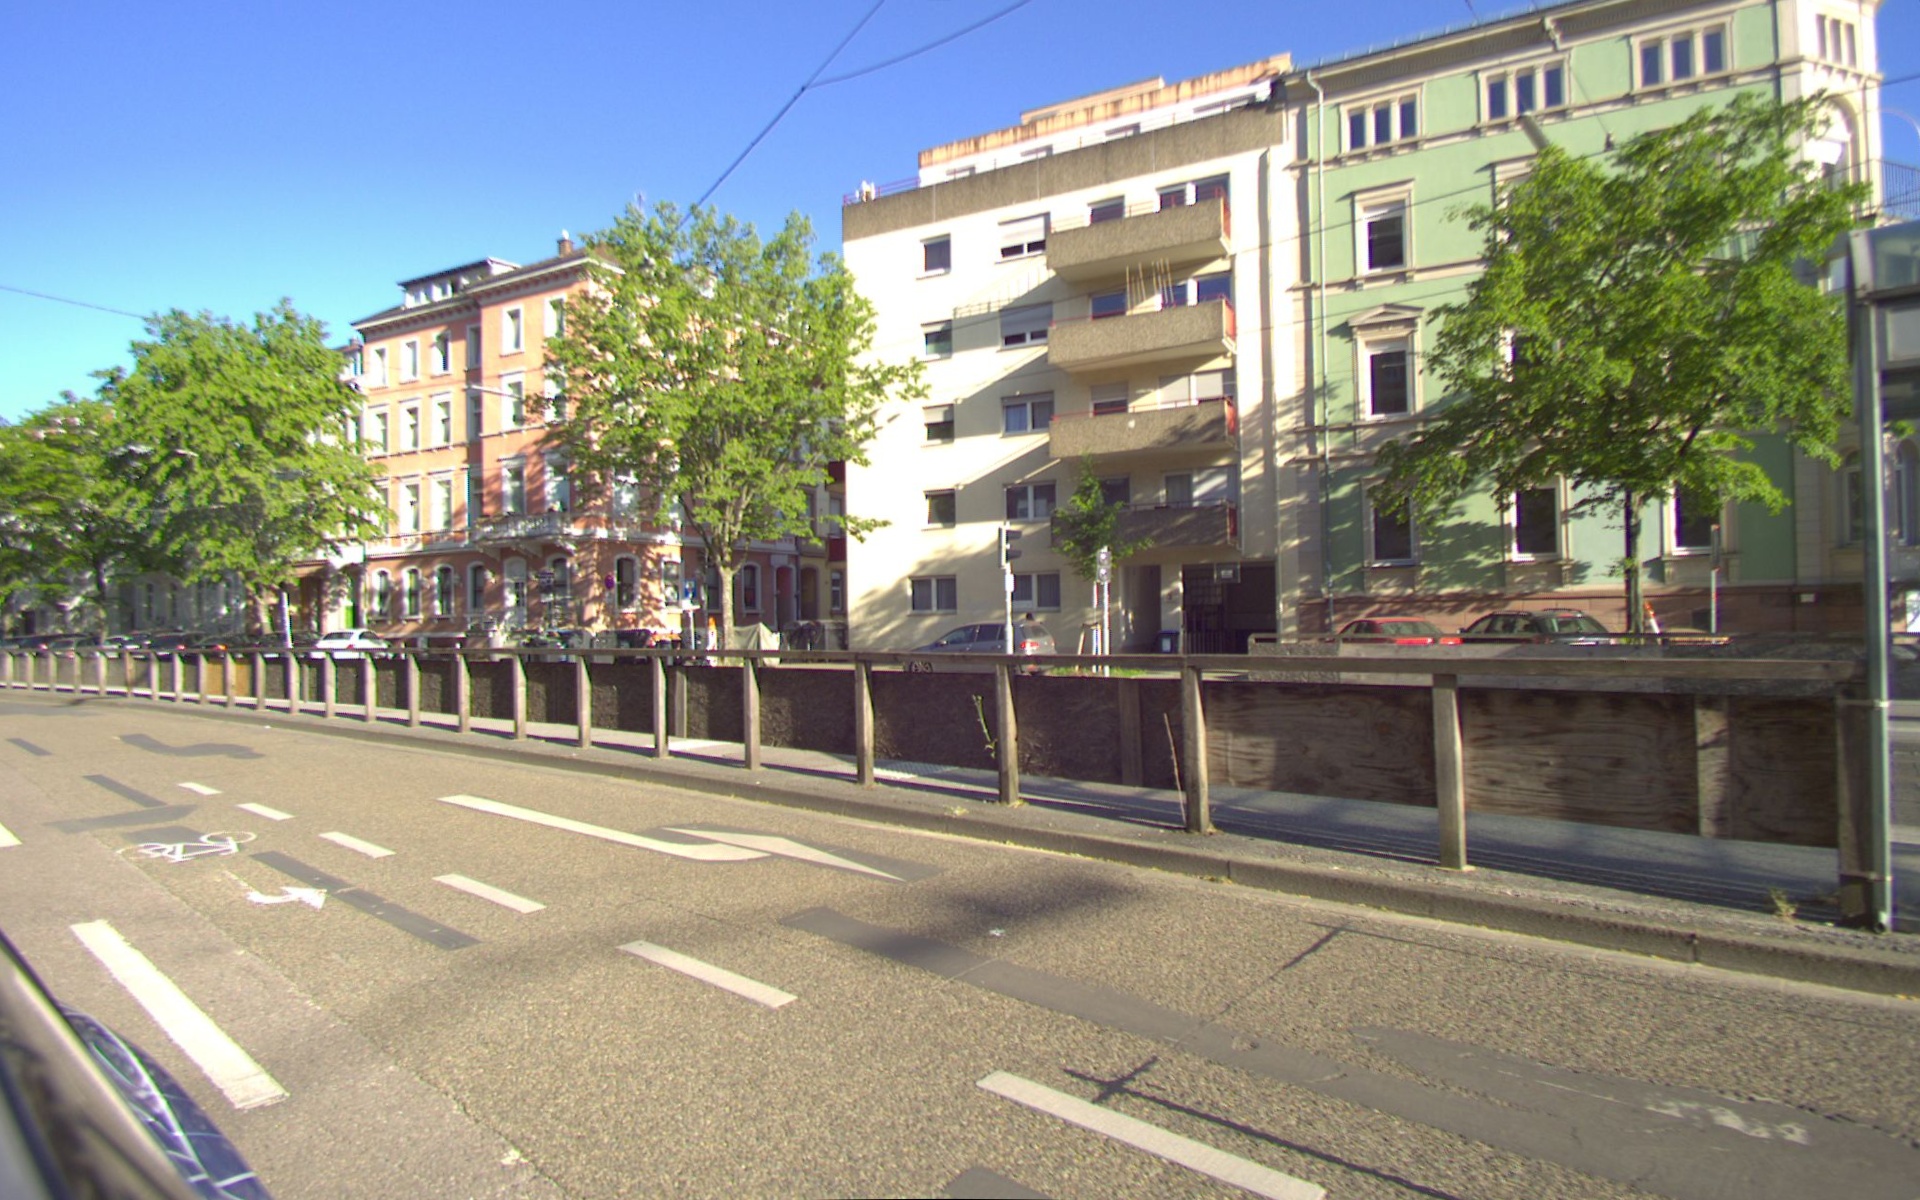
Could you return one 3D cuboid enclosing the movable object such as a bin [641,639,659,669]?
[{"bbox_3d":[-11.633,2.022,37.937,0.551,1.107,0.376,-2,-2,34],"label":"movable object such as a bin"}]

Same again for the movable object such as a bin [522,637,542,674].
[{"bbox_3d":[-14.806,1.916,35.027,0.639,1.251,0.375,-2,-2,40],"label":"movable object such as a bin"}]

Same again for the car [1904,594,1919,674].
[{"bbox_3d":[19.683,0.683,18.236,1.571,1.581,4.504,-1,0,8],"label":"car"}]

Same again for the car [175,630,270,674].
[{"bbox_3d":[-32.308,2.256,44.466,1.609,1.629,3.993,-2,1,-8],"label":"car"}]

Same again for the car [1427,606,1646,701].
[{"bbox_3d":[11.584,0.987,20.745,1.566,1.654,4.521,-1,0,-5],"label":"car"}]

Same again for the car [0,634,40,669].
[{"bbox_3d":[-54.618,2.946,57.022,1.760,1.812,4.202,-1,1,-1],"label":"car"}]

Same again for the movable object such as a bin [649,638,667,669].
[{"bbox_3d":[-11.056,1.944,37.036,0.551,1.105,0.376,-2,-2,34],"label":"movable object such as a bin"}]

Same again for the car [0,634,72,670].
[{"bbox_3d":[-49.382,2.735,53.387,1.748,1.666,3.872,-1,0,-2],"label":"car"}]

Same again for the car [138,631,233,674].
[{"bbox_3d":[-34.869,2.336,45.694,1.609,1.629,3.993,-2,1,-8],"label":"car"}]

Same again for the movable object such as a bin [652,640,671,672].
[{"bbox_3d":[-10.435,1.959,35.404,0.551,1.105,0.376,0,-1,34],"label":"movable object such as a bin"}]

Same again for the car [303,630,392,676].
[{"bbox_3d":[-24.894,2.101,41.279,1.708,1.533,3.924,-3,1,-9],"label":"car"}]

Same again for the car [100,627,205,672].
[{"bbox_3d":[-37.698,2.284,47.377,1.682,1.735,4.291,-1,2,-4],"label":"car"}]

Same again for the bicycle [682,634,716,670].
[{"bbox_3d":[-8.313,1.643,32.192,1.404,1.125,0.261,-2,-2,40],"label":"bicycle"}]

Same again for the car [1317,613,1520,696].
[{"bbox_3d":[9.366,1.047,21.154,1.845,1.436,4.521,-1,0,-5],"label":"car"}]

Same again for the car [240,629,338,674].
[{"bbox_3d":[-28.072,2.119,42.483,1.664,1.519,3.926,-2,1,-4],"label":"car"}]

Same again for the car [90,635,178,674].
[{"bbox_3d":[-40.234,2.636,49.393,1.682,1.544,3.284,-2,2,-4],"label":"car"}]

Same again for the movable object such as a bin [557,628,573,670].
[{"bbox_3d":[-13.681,1.698,35.037,0.387,1.437,0.376,-2,-2,40],"label":"movable object such as a bin"}]

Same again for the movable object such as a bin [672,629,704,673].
[{"bbox_3d":[-9.373,1.735,34.886,1.144,1.469,0.422,0,-1,34],"label":"movable object such as a bin"}]

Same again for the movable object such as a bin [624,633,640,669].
[{"bbox_3d":[-12.096,1.869,37.334,0.386,1.322,0.376,-2,-2,34],"label":"movable object such as a bin"}]

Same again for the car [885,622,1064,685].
[{"bbox_3d":[0.326,1.332,25.789,4.278,1.421,1.693,-2,0,32],"label":"car"}]

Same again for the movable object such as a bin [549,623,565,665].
[{"bbox_3d":[-14.042,1.534,35.301,0.385,1.437,0.376,-2,-2,40],"label":"movable object such as a bin"}]

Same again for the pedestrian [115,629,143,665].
[{"bbox_3d":[-42.230,2.388,51.426,0.801,1.769,0.762,-2,-2,17],"label":"pedestrian"}]

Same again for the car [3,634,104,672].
[{"bbox_3d":[-46.347,2.694,51.834,1.748,1.666,3.871,-1,0,-1],"label":"car"}]

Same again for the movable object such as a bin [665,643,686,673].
[{"bbox_3d":[-10.080,2.052,35.862,0.551,1.041,0.443,0,-1,34],"label":"movable object such as a bin"}]

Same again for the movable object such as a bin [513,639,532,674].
[{"bbox_3d":[-15.334,1.961,35.461,0.639,1.212,0.375,-2,-2,40],"label":"movable object such as a bin"}]

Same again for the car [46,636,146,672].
[{"bbox_3d":[-42.744,2.645,50.153,1.745,1.496,3.824,-1,1,-2],"label":"car"}]

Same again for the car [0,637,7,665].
[{"bbox_3d":[-57.628,3.109,58.155,1.718,1.649,4.202,-3,1,-1],"label":"car"}]

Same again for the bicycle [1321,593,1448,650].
[{"bbox_3d":[11.087,0.578,26.505,2.995,1.409,0.713,-2,-2,27],"label":"bicycle"}]

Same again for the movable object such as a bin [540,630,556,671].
[{"bbox_3d":[-14.451,1.764,35.486,0.387,1.437,0.376,-2,-2,40],"label":"movable object such as a bin"}]

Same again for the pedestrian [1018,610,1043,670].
[{"bbox_3d":[2.028,1.149,29.142,0.489,1.684,0.507,-2,-2,33],"label":"pedestrian"}]

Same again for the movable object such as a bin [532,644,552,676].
[{"bbox_3d":[-14.298,2.039,34.580,0.639,1.076,0.375,-2,-2,40],"label":"movable object such as a bin"}]
